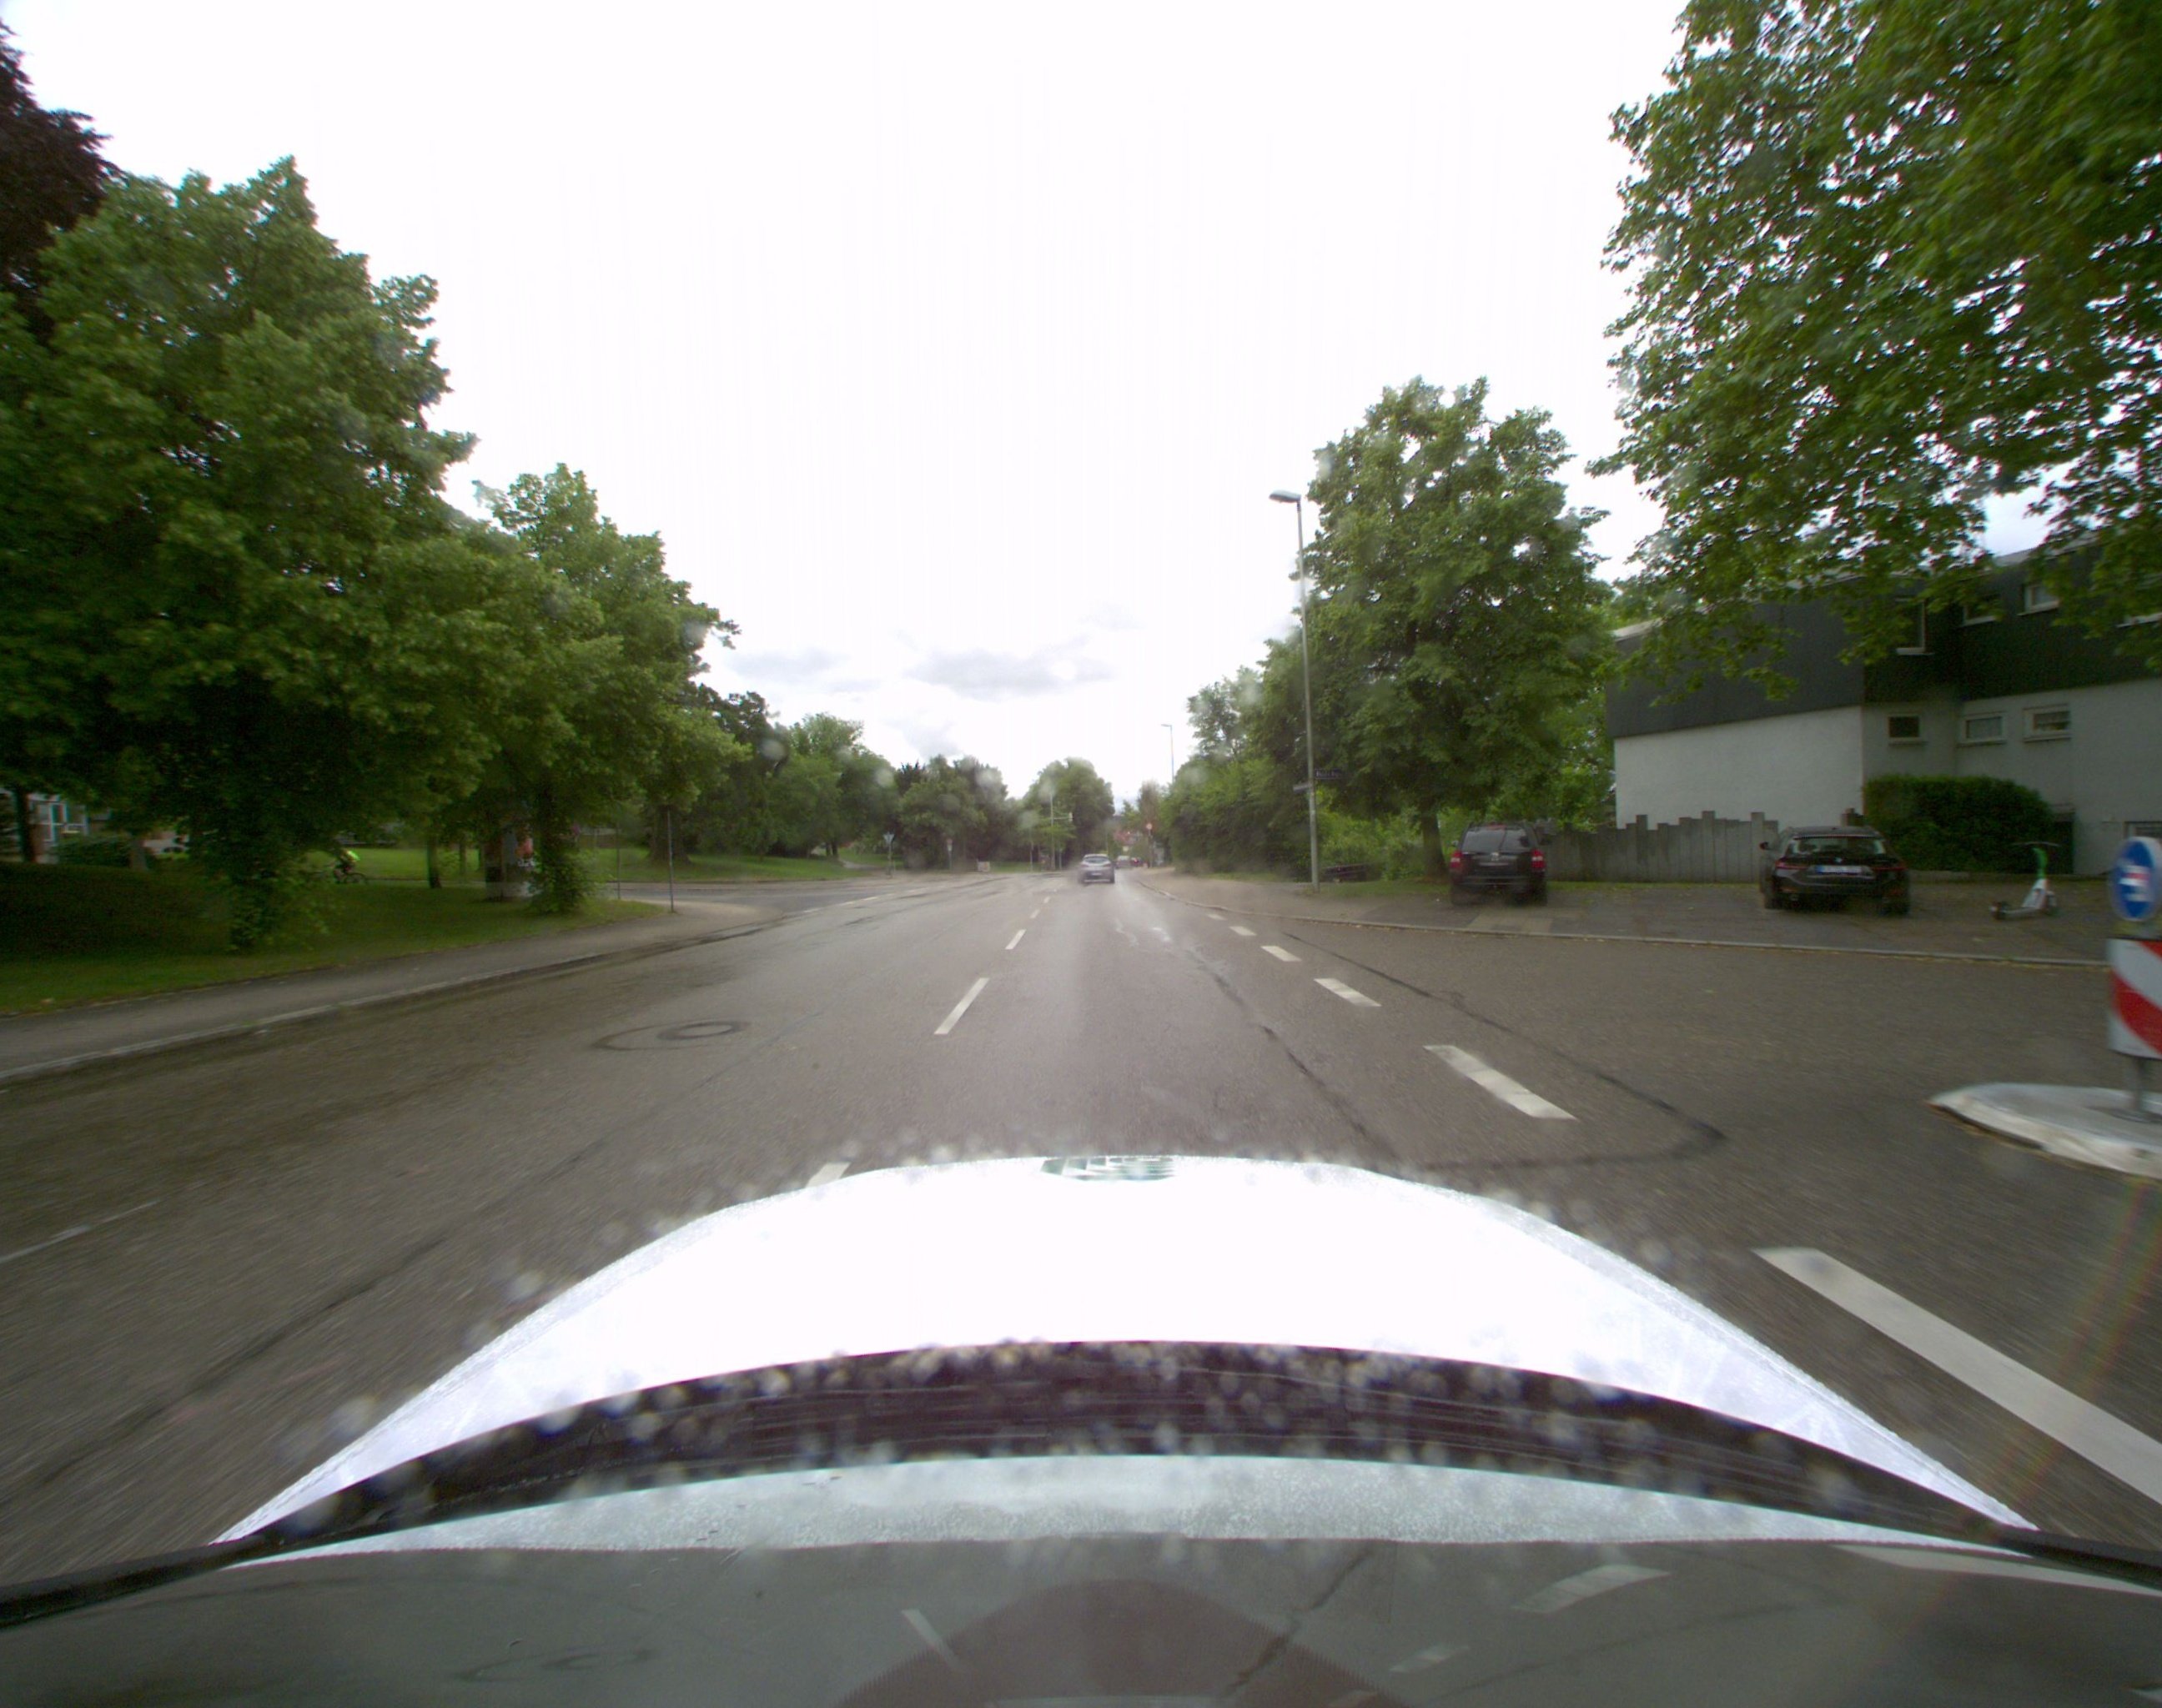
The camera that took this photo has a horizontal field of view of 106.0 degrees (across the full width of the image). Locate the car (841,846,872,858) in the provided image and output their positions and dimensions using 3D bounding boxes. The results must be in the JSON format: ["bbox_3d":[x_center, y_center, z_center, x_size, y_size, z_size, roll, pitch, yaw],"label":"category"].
[{"bbox_3d":[-30.238,-0.216,109.660,3.906,1.486,1.924,-1,-1,-18],"label":"car"}]

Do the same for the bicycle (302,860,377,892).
[{"bbox_3d":[-28.871,0.847,31.728,2.030,1.155,0.852,-2,-2,-8],"label":"bicycle"}]

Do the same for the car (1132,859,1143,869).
[{"bbox_3d":[9.071,1.619,131.627,1.714,1.464,4.004,1,-1,4],"label":"car"}]

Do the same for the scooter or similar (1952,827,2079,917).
[{"bbox_3d":[14.478,0.273,12.634,1.333,1.285,0.561,-3,-1,-5],"label":"scooter or similar"}]

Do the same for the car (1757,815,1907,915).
[{"bbox_3d":[13.664,0.082,15.054,1.734,1.469,4.595,0,3,39],"label":"car"}]

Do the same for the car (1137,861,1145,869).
[{"bbox_3d":[12.115,2.198,164.293,1.714,1.464,4.004,1,-1,4],"label":"car"}]

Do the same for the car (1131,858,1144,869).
[{"bbox_3d":[8.102,1.329,116.326,1.714,1.464,4.004,1,-1,4],"label":"car"}]

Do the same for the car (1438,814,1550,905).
[{"bbox_3d":[9.254,0.000,18.042,1.929,1.689,4.935,-1,3,30],"label":"car"}]

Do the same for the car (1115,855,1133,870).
[{"bbox_3d":[4.353,0.894,82.560,1.714,1.464,4.004,1,-1,4],"label":"car"}]

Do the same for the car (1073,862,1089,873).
[{"bbox_3d":[0.000,1.762,107.528,1.653,1.306,4.090,-4,1,5],"label":"car"}]

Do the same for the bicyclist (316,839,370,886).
[{"bbox_3d":[-28.776,0.335,31.772,1.281,1.756,0.852,-2,-2,-8],"label":"bicyclist"}]

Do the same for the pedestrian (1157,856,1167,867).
[{"bbox_3d":[9.779,0.901,98.673,1.066,1.355,0.921,-3,-1,12],"label":"pedestrian"}]

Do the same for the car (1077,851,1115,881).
[{"bbox_3d":[0.801,0.570,41.447,1.747,1.464,4.004,0,0,4],"label":"car"}]
